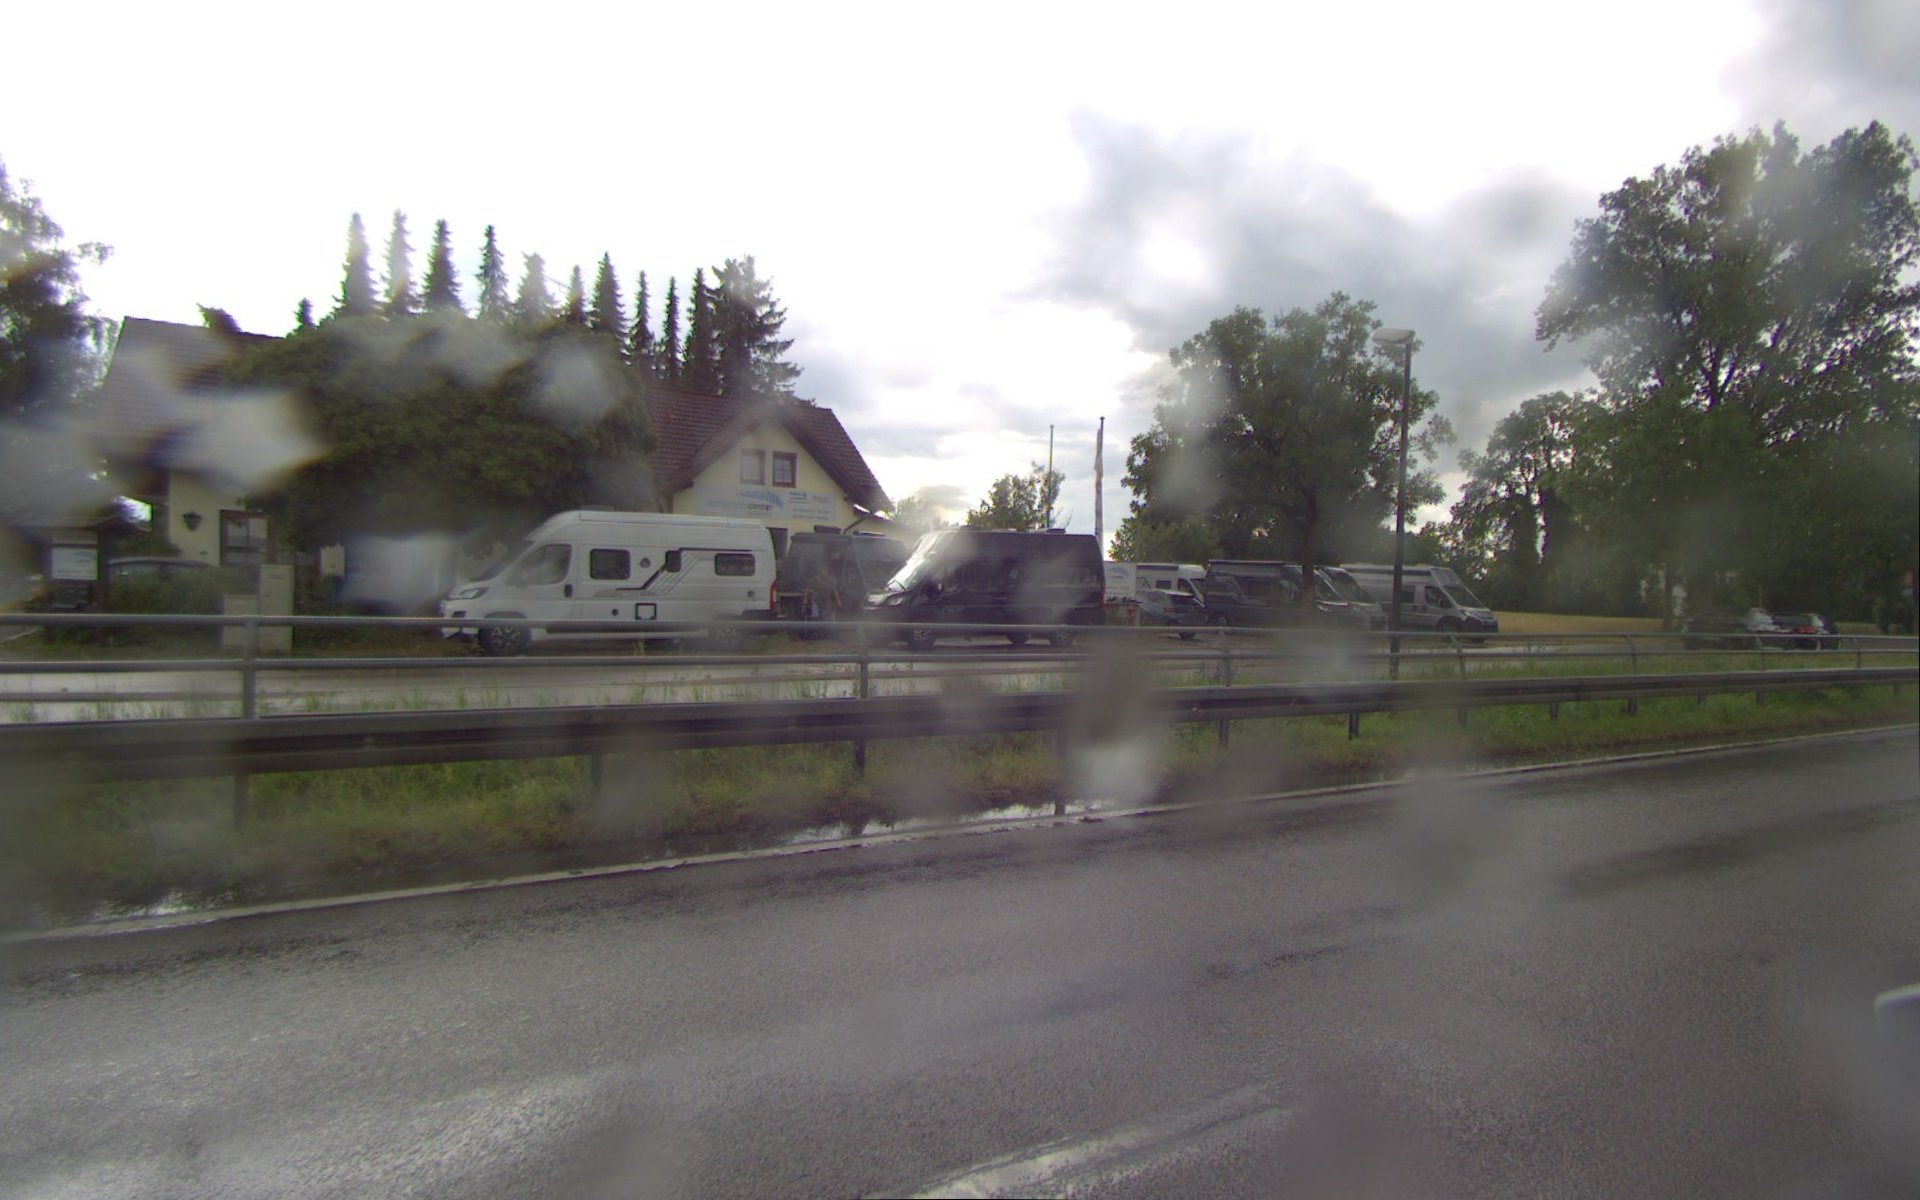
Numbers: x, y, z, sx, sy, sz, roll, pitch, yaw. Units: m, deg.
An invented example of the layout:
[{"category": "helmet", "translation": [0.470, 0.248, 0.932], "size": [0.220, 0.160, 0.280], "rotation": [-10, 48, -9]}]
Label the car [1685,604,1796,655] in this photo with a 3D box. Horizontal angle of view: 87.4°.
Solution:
[{"category": "car", "translation": [25.882, 0.959, 33.235], "size": [5.072, 1.511, 1.505], "rotation": [1, 2, -36]}]

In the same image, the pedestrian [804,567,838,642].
[{"category": "pedestrian", "translation": [-3.256, 0.104, 23.463], "size": [0.641, 1.733, 0.514], "rotation": [1, 2, -23]}]

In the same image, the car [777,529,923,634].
[{"category": "car", "translation": [-3.384, -0.568, 29.661], "size": [2.142, 2.802, 5.609], "rotation": [1, 1, -31]}]

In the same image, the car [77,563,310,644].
[{"category": "car", "translation": [-14.006, 0.067, 18.579], "size": [3.232, 1.374, 1.441], "rotation": [1, 1, -30]}]

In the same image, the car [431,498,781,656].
[{"category": "car", "translation": [-6.656, -0.376, 19.195], "size": [5.953, 2.615, 2.224], "rotation": [1, 2, -33]}]

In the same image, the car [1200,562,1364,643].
[{"category": "car", "translation": [10.954, 0.003, 34.568], "size": [1.980, 2.535, 5.146], "rotation": [1, 2, -35]}]

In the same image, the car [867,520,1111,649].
[{"category": "car", "translation": [0.762, -0.327, 24.303], "size": [5.514, 2.800, 2.368], "rotation": [1, 2, -34]}]

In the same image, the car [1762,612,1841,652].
[{"category": "car", "translation": [31.011, 1.154, 36.981], "size": [3.860, 1.349, 1.274], "rotation": [1, 1, -36]}]

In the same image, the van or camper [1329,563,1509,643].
[{"category": "van or camper", "translation": [17.080, 0.027, 37.762], "size": [2.061, 2.713, 5.834], "rotation": [1, 2, -35]}]

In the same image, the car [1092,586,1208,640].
[{"category": "car", "translation": [6.005, 0.376, 32.205], "size": [1.521, 1.516, 3.867], "rotation": [1, 2, -29]}]

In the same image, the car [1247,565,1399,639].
[{"category": "car", "translation": [13.286, 0.022, 37.117], "size": [1.979, 2.492, 5.061], "rotation": [1, 2, -33]}]

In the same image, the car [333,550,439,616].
[{"category": "car", "translation": [-14.961, -0.483, 26.115], "size": [2.005, 1.576, 3.689], "rotation": [-1, 3, -36]}]

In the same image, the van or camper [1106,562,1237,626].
[{"category": "van or camper", "translation": [9.329, -0.331, 44.901], "size": [1.982, 2.625, 5.760], "rotation": [1, 2, -38]}]
